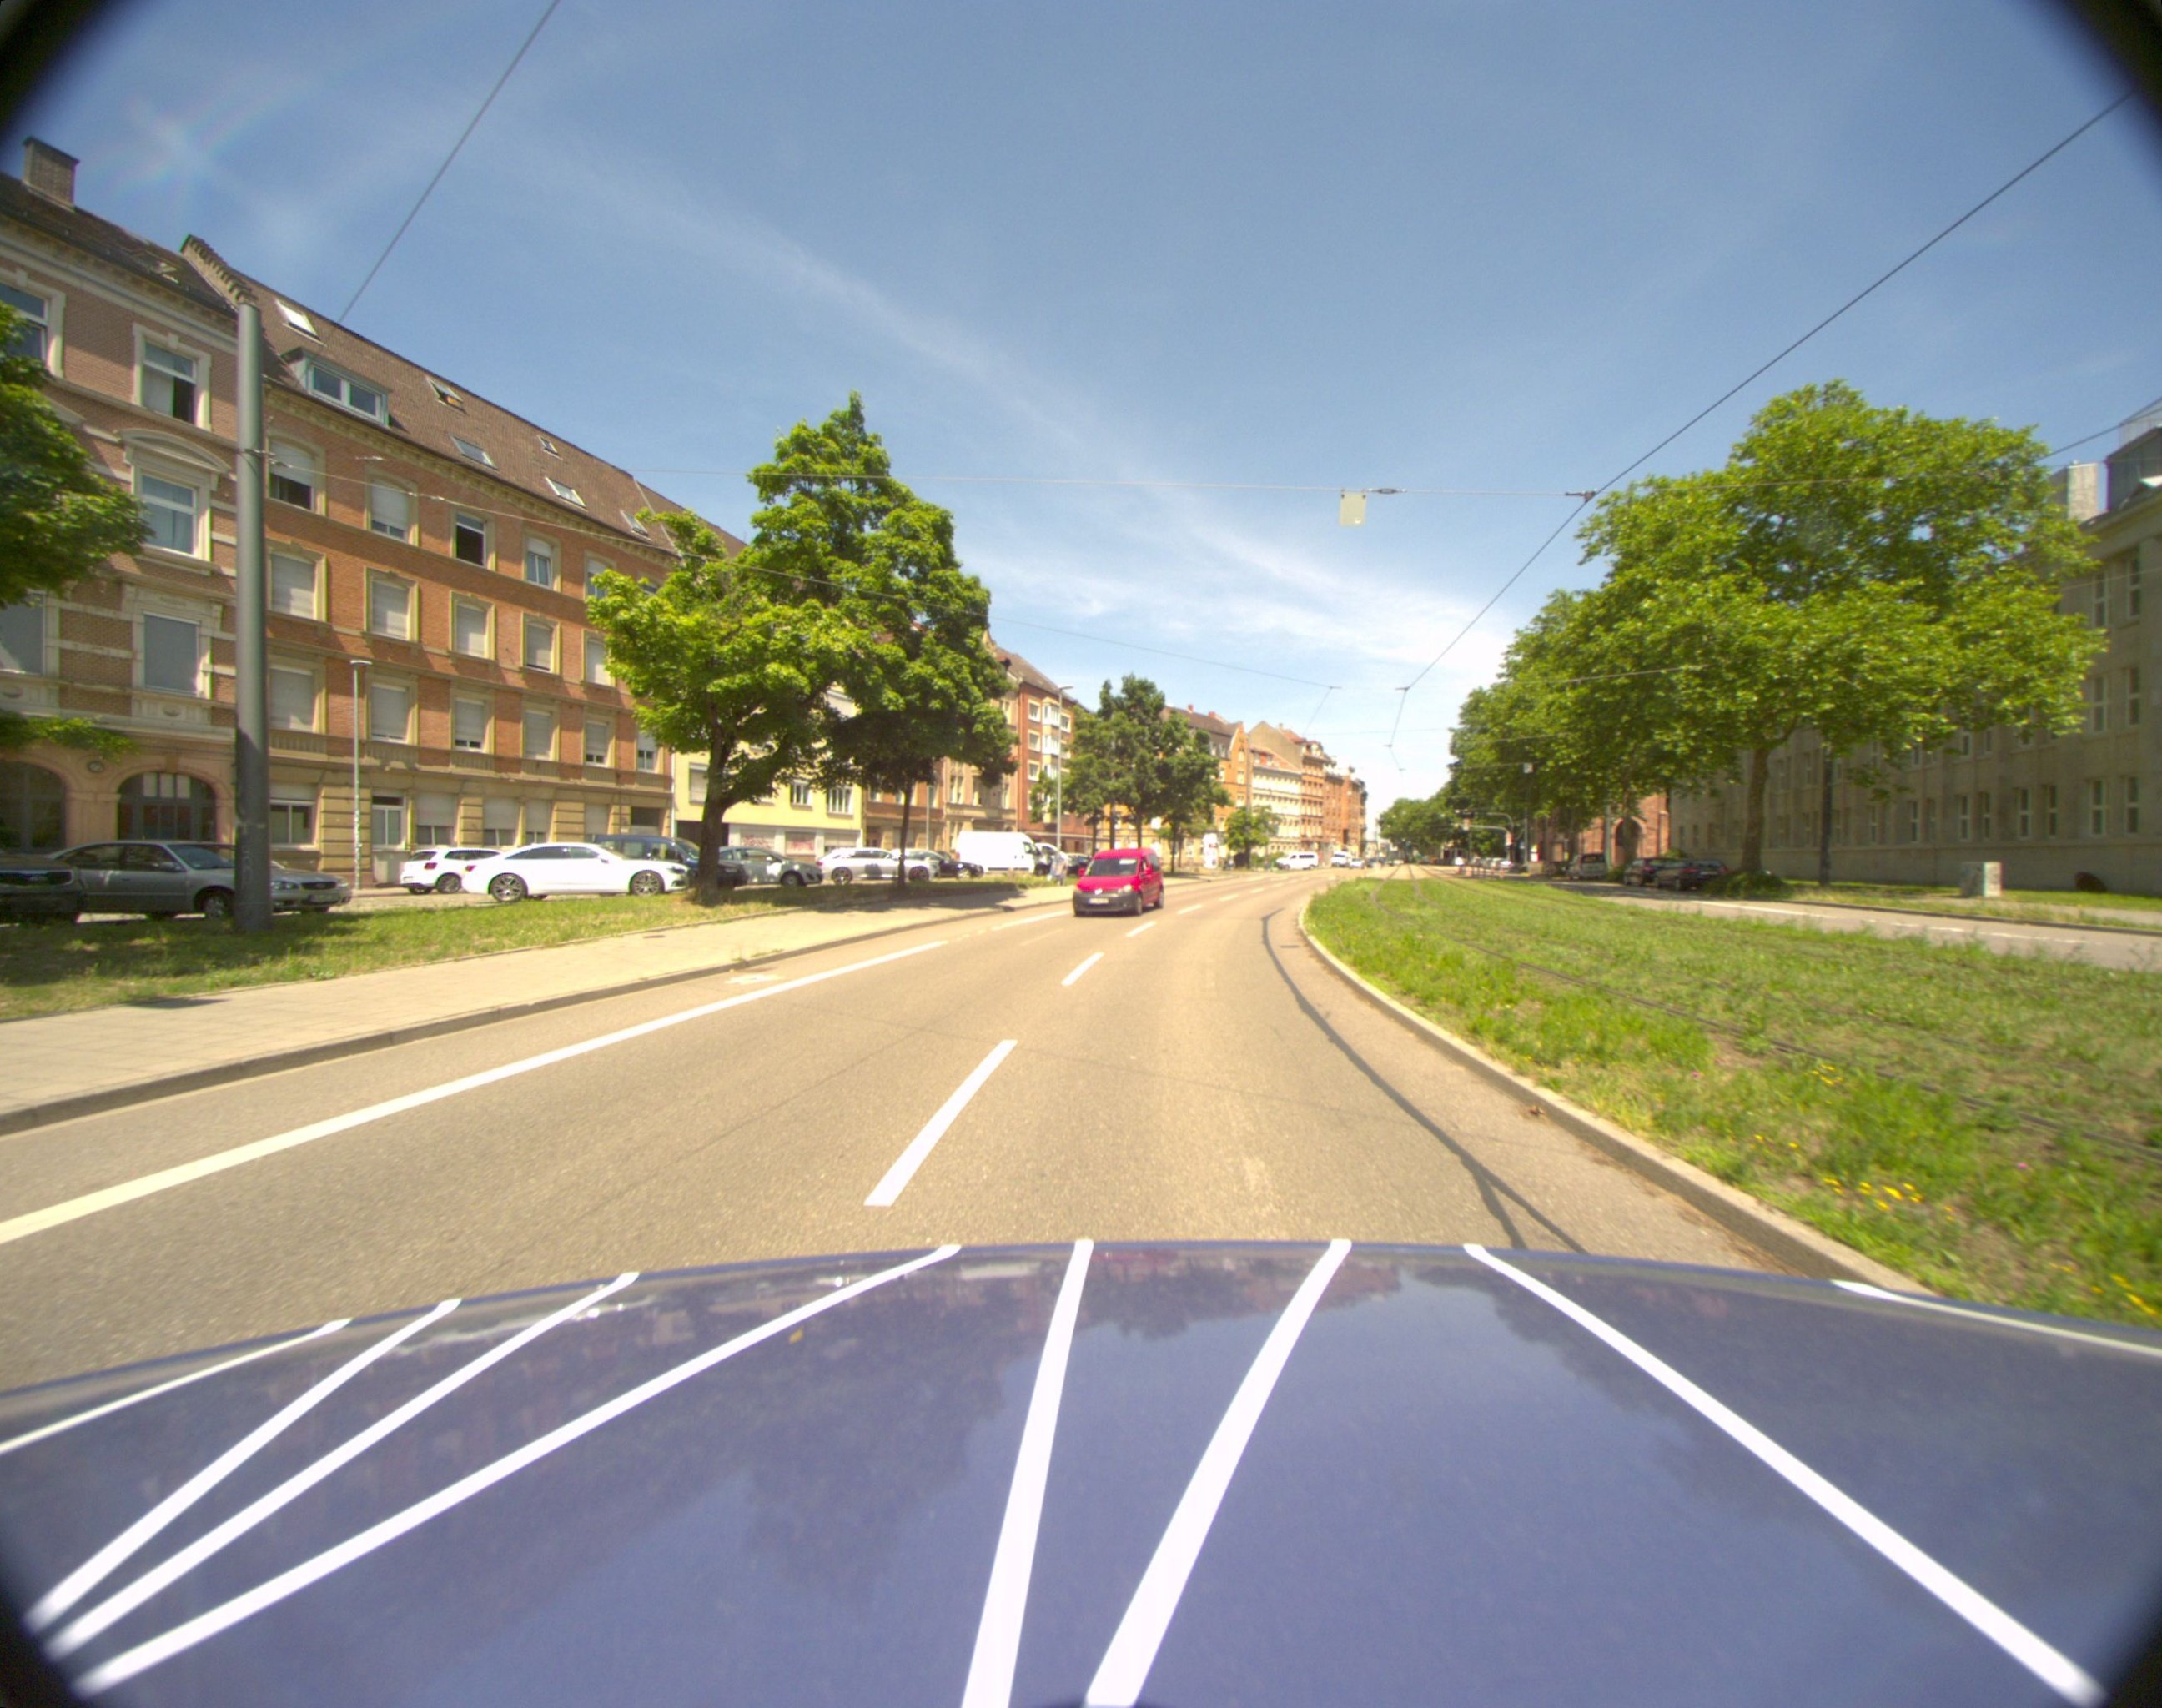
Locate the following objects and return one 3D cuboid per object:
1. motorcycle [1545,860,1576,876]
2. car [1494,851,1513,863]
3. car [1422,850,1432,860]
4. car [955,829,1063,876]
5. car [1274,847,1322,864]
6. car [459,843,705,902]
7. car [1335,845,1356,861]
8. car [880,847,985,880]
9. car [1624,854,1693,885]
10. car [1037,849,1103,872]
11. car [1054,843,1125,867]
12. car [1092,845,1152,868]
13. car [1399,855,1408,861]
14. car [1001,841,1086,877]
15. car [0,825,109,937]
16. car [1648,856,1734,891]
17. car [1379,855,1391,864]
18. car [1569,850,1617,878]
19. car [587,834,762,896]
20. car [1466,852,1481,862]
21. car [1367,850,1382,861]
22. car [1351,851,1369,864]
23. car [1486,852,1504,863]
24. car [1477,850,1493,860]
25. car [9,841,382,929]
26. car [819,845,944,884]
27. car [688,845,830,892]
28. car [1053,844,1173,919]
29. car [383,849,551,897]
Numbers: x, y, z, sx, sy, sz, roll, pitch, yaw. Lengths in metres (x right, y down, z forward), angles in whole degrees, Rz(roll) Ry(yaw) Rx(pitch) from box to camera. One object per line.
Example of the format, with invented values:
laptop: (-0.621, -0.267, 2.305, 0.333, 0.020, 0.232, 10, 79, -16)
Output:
motorcycle: (35.386, 1.013, 56.115, 1.872, 1.062, 0.727, -2, 0, -8)
car: (53.398, 0.423, 95.994, 1.660, 1.450, 4.228, -1, 0, 23)
car: (82.720, 0.229, 181.846, 1.818, 2.283, 3.767, -1, 0, 20)
car: (-3.968, -0.086, 41.360, 5.554, 2.446, 2.235, -1, 0, -14)
car: (25.103, 0.157, 87.909, 4.856, 1.926, 2.165, -1, 0, -13)
car: (-12.383, 0.418, 19.276, 4.791, 1.306, 2.146, -1, 0, -18)
car: (40.282, -0.115, 115.650, 1.994, 2.317, 5.417, 3, 2, 28)
car: (-6.632, 0.417, 33.907, 4.434, 1.330, 1.970, -1, 0, -14)
car: (29.021, 0.760, 38.313, 1.764, 1.474, 4.330, -1, 0, 24)
car: (-0.673, 0.388, 47.482, 3.996, 1.378, 1.824, -1, 0, 2)
car: (0.542, 0.092, 50.584, 4.630, 1.488, 1.965, -1, 0, -1)
car: (3.016, 0.203, 56.398, 4.409, 1.622, 2.000, -1, 0, 1)
car: (83.357, 0.960, 196.270, 1.748, 1.386, 4.353, -2, -1, 20)
car: (-2.218, 0.288, 44.640, 4.847, 1.961, 2.075, -1, 0, -6)
car: (-16.126, 0.385, 9.990, 4.091, 1.461, 1.797, -1, 0, -4)
car: (26.637, 0.808, 33.354, 1.589, 1.415, 4.329, -1, 0, 19)
car: (51.957, 0.899, 129.802, 1.797, 1.565, 4.006, -1, 0, 22)
car: (34.640, 0.643, 51.524, 1.995, 1.800, 4.308, -1, 0, 25)
car: (-11.749, 0.304, 22.180, 3.998, 1.652, 1.972, -1, 0, -3)
car: (67.993, 0.562, 131.746, 1.995, 1.707, 4.006, -1, 0, 23)
car: (42.081, 0.237, 108.818, 1.797, 1.565, 4.007, -1, 0, 24)
car: (35.737, 0.420, 97.343, 1.797, 1.565, 4.007, -1, 0, 24)
car: (57.145, 0.452, 104.864, 1.660, 1.450, 4.065, -1, 0, 22)
car: (61.175, 0.163, 115.155, 1.744, 1.514, 3.759, -1, 0, 22)
car: (-14.673, 0.479, 12.791, 3.997, 1.306, 1.972, -1, 0, 1)
car: (-7.983, 0.413, 30.628, 4.695, 1.419, 1.970, -1, 0, -14)
car: (-10.368, 0.442, 24.736, 4.001, 1.392, 1.710, -1, 0, -13)
car: (1.064, 0.675, 21.298, 1.857, 1.823, 5.174, -1, 0, 20)
car: (-19.412, 0.559, 24.216, 1.780, 1.412, 3.721, -1, 0, 22)
